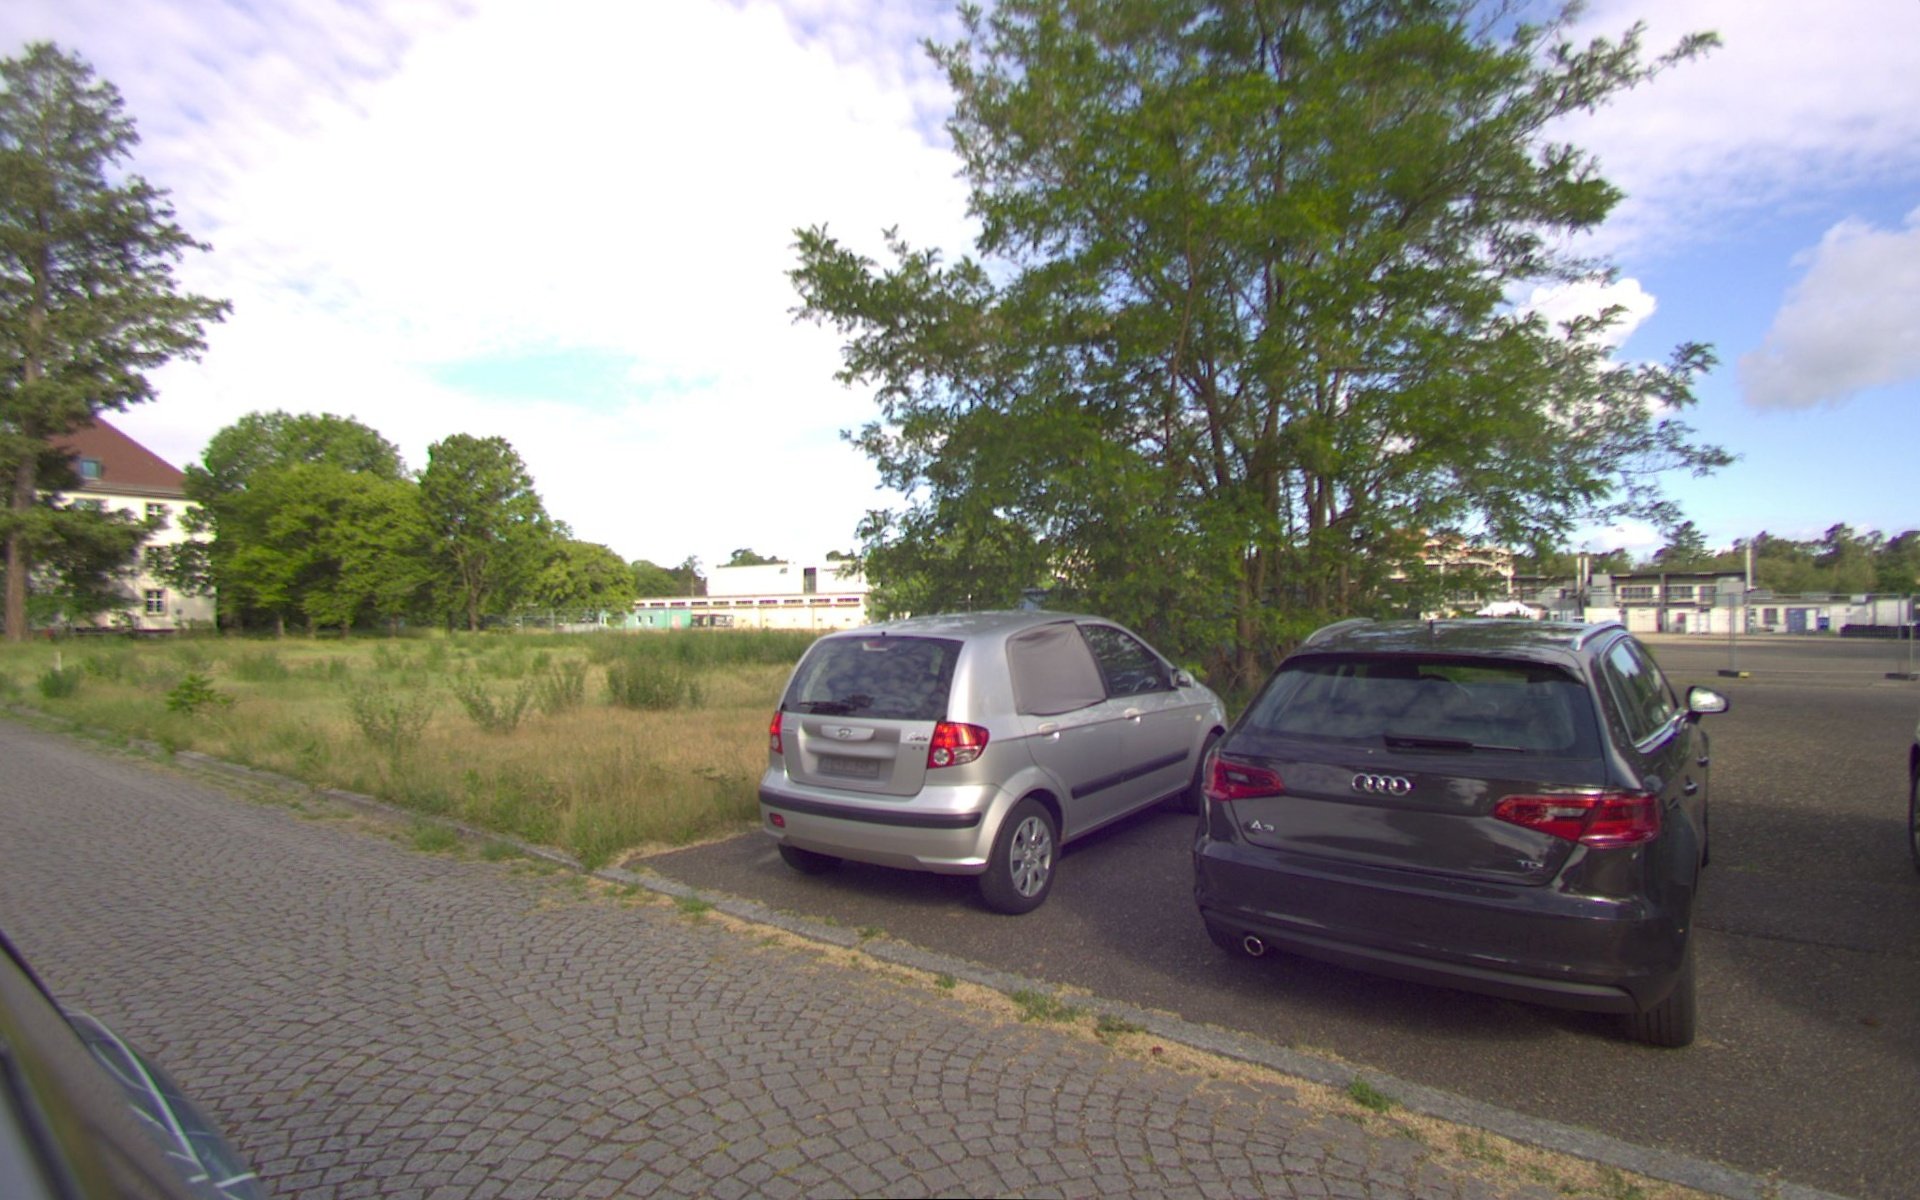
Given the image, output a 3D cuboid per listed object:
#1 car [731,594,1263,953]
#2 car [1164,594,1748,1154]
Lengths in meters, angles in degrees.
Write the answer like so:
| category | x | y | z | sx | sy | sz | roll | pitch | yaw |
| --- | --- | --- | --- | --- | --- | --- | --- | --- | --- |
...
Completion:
| category | x | y | z | sx | sy | sz | roll | pitch | yaw |
| --- | --- | --- | --- | --- | --- | --- | --- | --- | --- |
| car | 0.483 | 0.769 | 6.380 | 1.644 | 1.486 | 3.545 | -1 | 1 | 36 |
| car | 2.599 | 0.747 | 4.763 | 1.693 | 1.419 | 3.800 | -1 | 1 | 38 |
